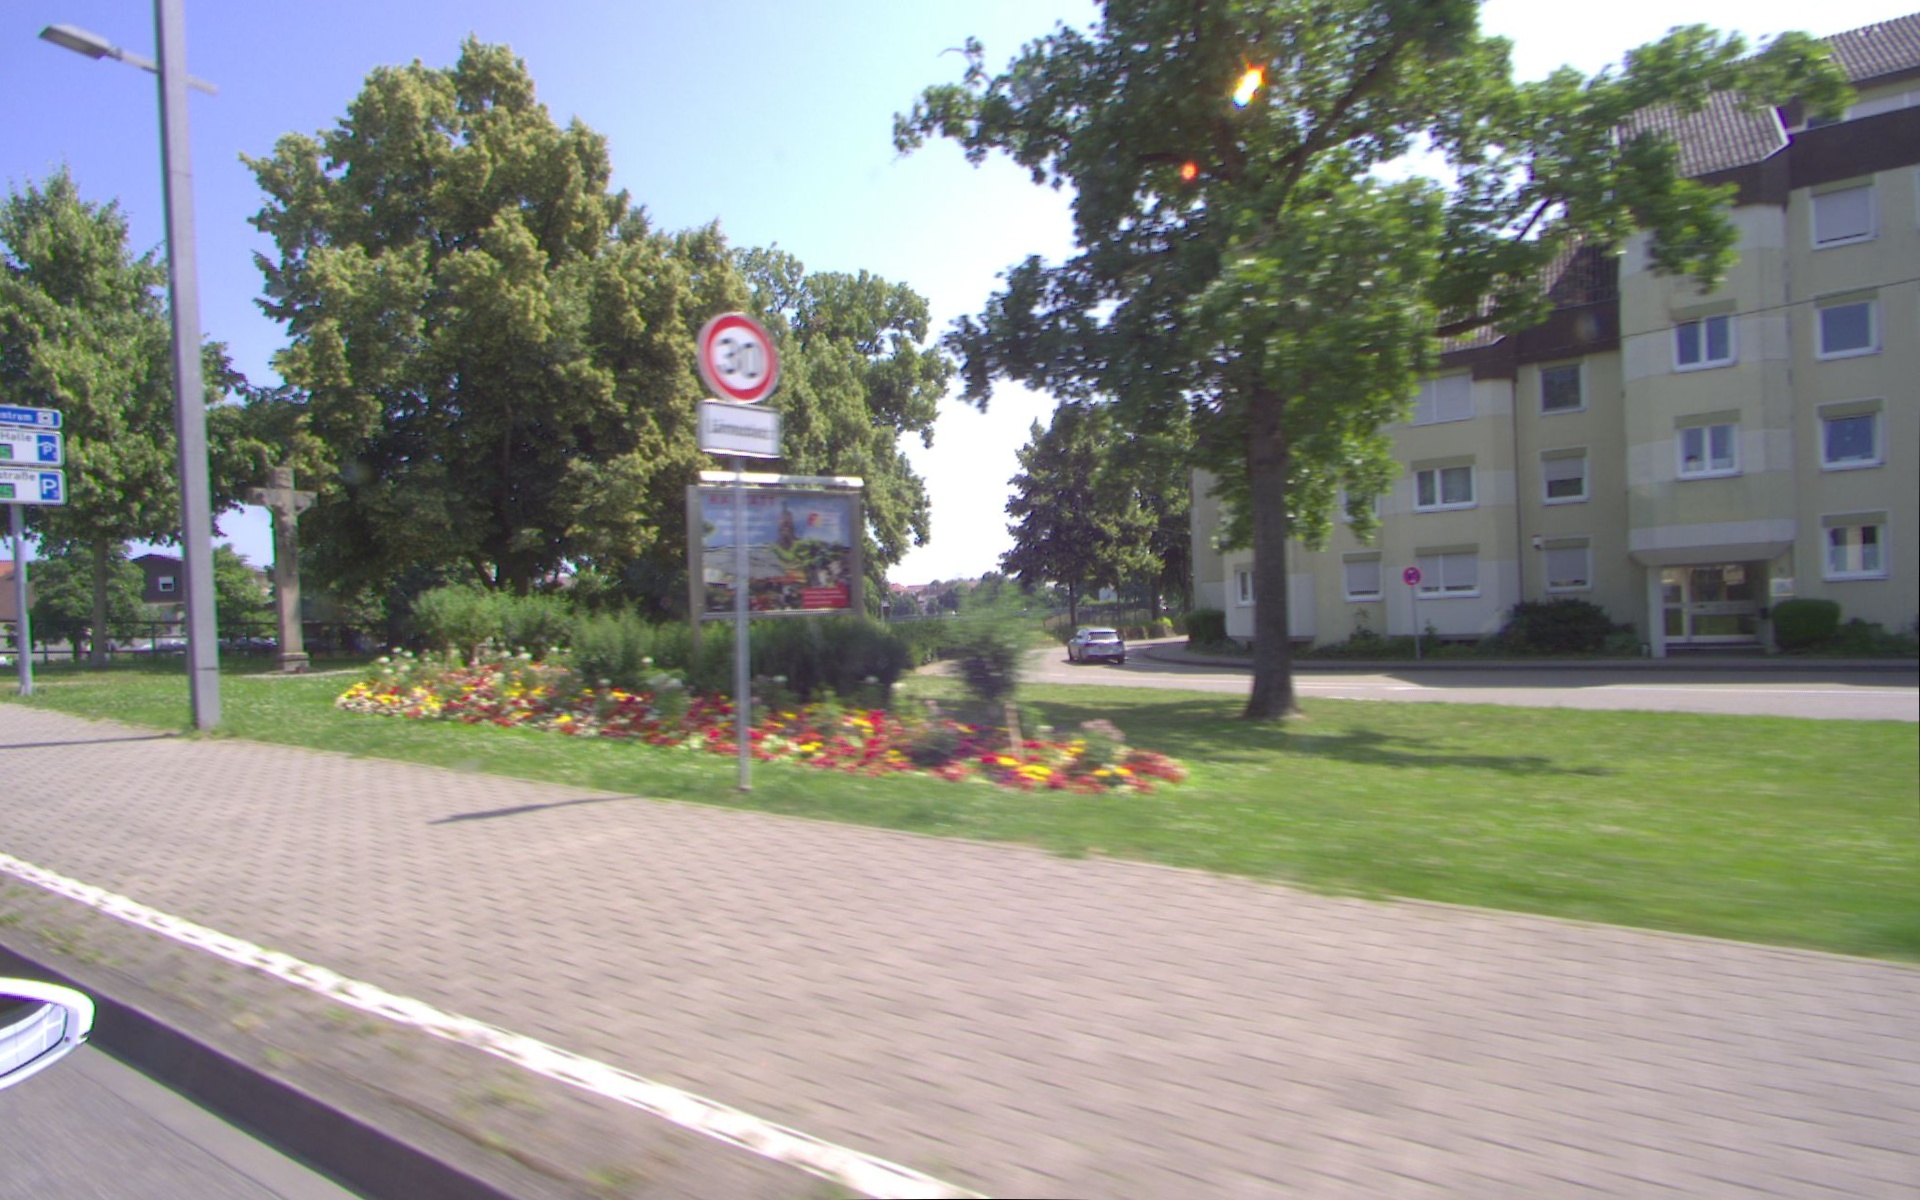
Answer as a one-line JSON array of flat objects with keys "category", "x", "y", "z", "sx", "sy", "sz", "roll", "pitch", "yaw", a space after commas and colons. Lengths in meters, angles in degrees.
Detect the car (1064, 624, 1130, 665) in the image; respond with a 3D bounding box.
[{"category": "car", "x": 5.529, "y": 1.807, "z": 40.992, "sx": 1.862, "sy": 1.518, "sz": 4.531, "roll": -2, "pitch": -2, "yaw": -3}]
